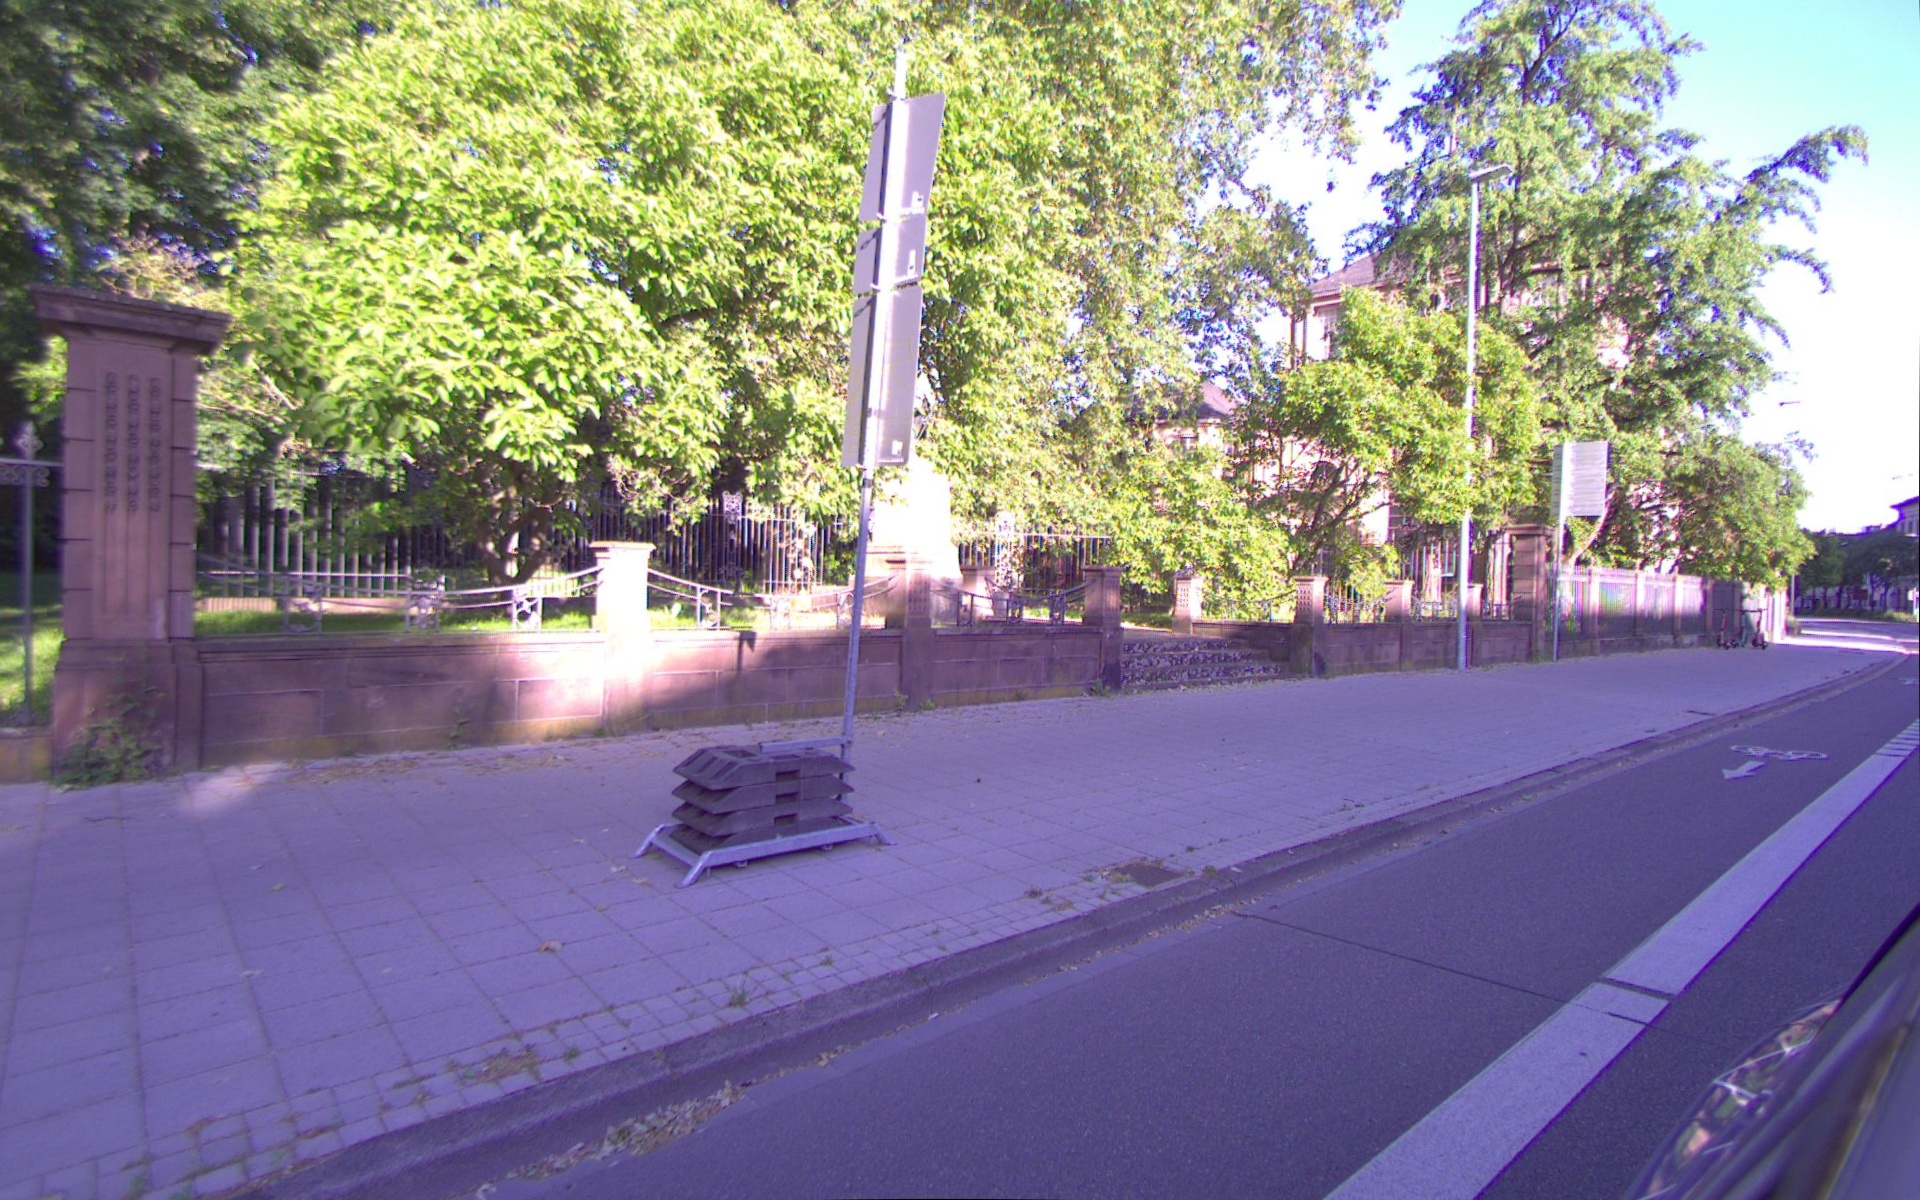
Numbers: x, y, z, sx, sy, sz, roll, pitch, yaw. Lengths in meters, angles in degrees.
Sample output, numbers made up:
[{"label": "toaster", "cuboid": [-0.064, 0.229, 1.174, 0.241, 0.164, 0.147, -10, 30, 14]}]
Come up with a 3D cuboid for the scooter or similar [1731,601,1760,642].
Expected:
[{"label": "scooter or similar", "cuboid": [23.620, 0.629, 30.434, 0.574, 1.199, 1.465, 3, 2, 41]}]

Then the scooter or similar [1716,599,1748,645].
[{"label": "scooter or similar", "cuboid": [22.272, 0.612, 29.210, 0.572, 1.269, 1.470, 2, 2, 33]}]

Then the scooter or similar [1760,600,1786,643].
[{"label": "scooter or similar", "cuboid": [24.719, 0.640, 30.783, 0.514, 1.255, 1.502, 2, 2, 37]}]
